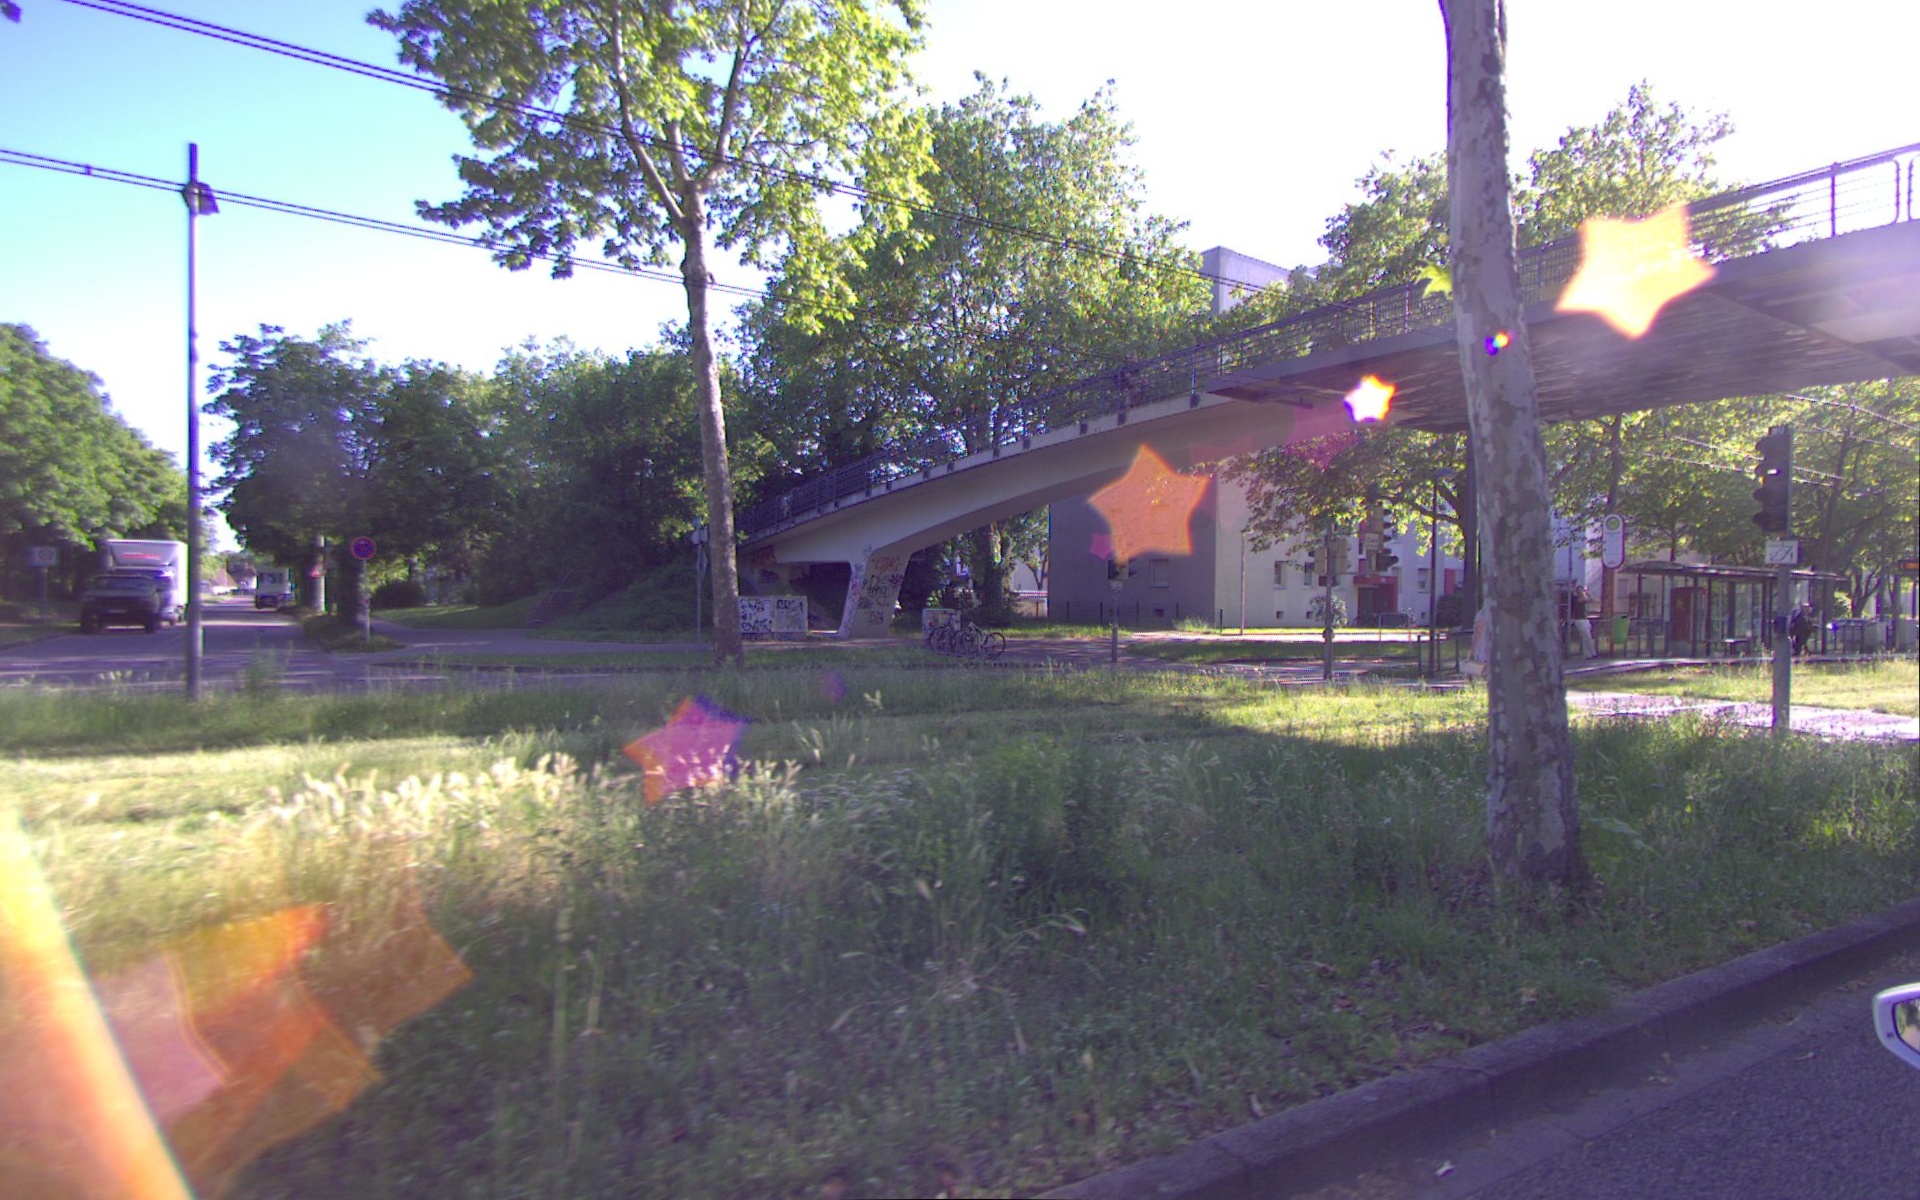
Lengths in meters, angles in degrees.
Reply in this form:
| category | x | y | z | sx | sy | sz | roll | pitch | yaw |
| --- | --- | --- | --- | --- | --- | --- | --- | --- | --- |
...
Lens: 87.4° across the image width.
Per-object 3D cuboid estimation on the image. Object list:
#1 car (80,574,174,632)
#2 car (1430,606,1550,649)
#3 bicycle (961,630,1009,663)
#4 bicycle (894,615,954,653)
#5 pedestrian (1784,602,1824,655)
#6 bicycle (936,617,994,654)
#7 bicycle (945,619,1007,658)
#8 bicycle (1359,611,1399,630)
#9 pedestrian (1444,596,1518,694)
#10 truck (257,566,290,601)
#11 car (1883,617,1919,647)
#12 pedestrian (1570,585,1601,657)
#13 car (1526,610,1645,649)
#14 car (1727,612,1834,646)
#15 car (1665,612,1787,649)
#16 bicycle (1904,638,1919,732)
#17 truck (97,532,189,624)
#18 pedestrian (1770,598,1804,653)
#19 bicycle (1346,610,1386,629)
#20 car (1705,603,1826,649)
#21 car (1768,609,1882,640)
| category | x | y | z | sx | sy | sz | roll | pitch | yaw |
| --- | --- | --- | --- | --- | --- | --- | --- | --- | --- |
| car | -31.221 | 0.077 | 37.823 | 2.204 | 1.975 | 6.091 | 1 | 0 | -35 |
| car | 21.451 | 1.081 | 40.841 | 4.118 | 1.447 | 1.699 | 2 | 2 | 22 |
| bicycle | 0.653 | 1.187 | 25.776 | 1.160 | 0.789 | 0.431 | 1 | 2 | -30 |
| bicycle | -1.014 | 0.959 | 28.577 | 1.667 | 1.022 | 0.431 | 1 | 2 | -30 |
| pedestrian | 24.704 | 0.839 | 29.406 | 0.674 | 1.534 | 0.641 | 1 | -1 | -22 |
| bicycle | 0.148 | 1.002 | 28.792 | 1.667 | 1.022 | 0.431 | 1 | 2 | -30 |
| bicycle | 0.438 | 1.037 | 27.302 | 1.667 | 1.022 | 0.431 | 1 | 2 | -30 |
| bicycle | 22.726 | 1.093 | 54.414 | 2.568 | 0.941 | 0.691 | 0 | 2 | -34 |
| pedestrian | 9.462 | 0.805 | 18.254 | 1.038 | 1.696 | 0.720 | 1 | 1 | -34 |
| truck | -68.036 | -1.678 | 99.470 | 2.500 | 3.237 | 6.474 | 1 | 1 | -36 |
| car | 57.102 | 1.915 | 58.995 | 3.977 | 1.590 | 1.576 | 2 | 3 | 12 |
| pedestrian | 15.849 | 0.519 | 25.453 | 0.494 | 1.794 | 0.484 | 3 | 1 | 20 |
| car | 27.270 | 1.264 | 43.947 | 4.118 | 1.447 | 1.699 | 2 | 2 | 22 |
| car | 43.416 | 1.515 | 53.252 | 3.978 | 1.632 | 1.690 | 2 | 2 | 17 |
| car | 38.131 | 1.486 | 50.126 | 4.411 | 1.518 | 1.900 | 2 | 2 | 19 |
| bicycle | 12.589 | 1.100 | 11.921 | 0.802 | 1.162 | 1.829 | 1 | 2 | -17 |
| truck | -37.163 | -0.947 | 45.939 | 2.721 | 3.800 | 8.429 | 1 | 0 | -36 |
| pedestrian | 25.207 | 0.780 | 30.617 | 0.726 | 1.656 | 0.706 | 2 | -1 | -44 |
| bicycle | 22.323 | 1.066 | 55.145 | 2.568 | 0.941 | 0.691 | 0 | 2 | -34 |
| car | 41.256 | 1.301 | 51.572 | 4.413 | 2.091 | 1.899 | 2 | 2 | 22 |
| car | 48.646 | 1.368 | 56.576 | 4.409 | 1.524 | 1.901 | 2 | 2 | 12 |
